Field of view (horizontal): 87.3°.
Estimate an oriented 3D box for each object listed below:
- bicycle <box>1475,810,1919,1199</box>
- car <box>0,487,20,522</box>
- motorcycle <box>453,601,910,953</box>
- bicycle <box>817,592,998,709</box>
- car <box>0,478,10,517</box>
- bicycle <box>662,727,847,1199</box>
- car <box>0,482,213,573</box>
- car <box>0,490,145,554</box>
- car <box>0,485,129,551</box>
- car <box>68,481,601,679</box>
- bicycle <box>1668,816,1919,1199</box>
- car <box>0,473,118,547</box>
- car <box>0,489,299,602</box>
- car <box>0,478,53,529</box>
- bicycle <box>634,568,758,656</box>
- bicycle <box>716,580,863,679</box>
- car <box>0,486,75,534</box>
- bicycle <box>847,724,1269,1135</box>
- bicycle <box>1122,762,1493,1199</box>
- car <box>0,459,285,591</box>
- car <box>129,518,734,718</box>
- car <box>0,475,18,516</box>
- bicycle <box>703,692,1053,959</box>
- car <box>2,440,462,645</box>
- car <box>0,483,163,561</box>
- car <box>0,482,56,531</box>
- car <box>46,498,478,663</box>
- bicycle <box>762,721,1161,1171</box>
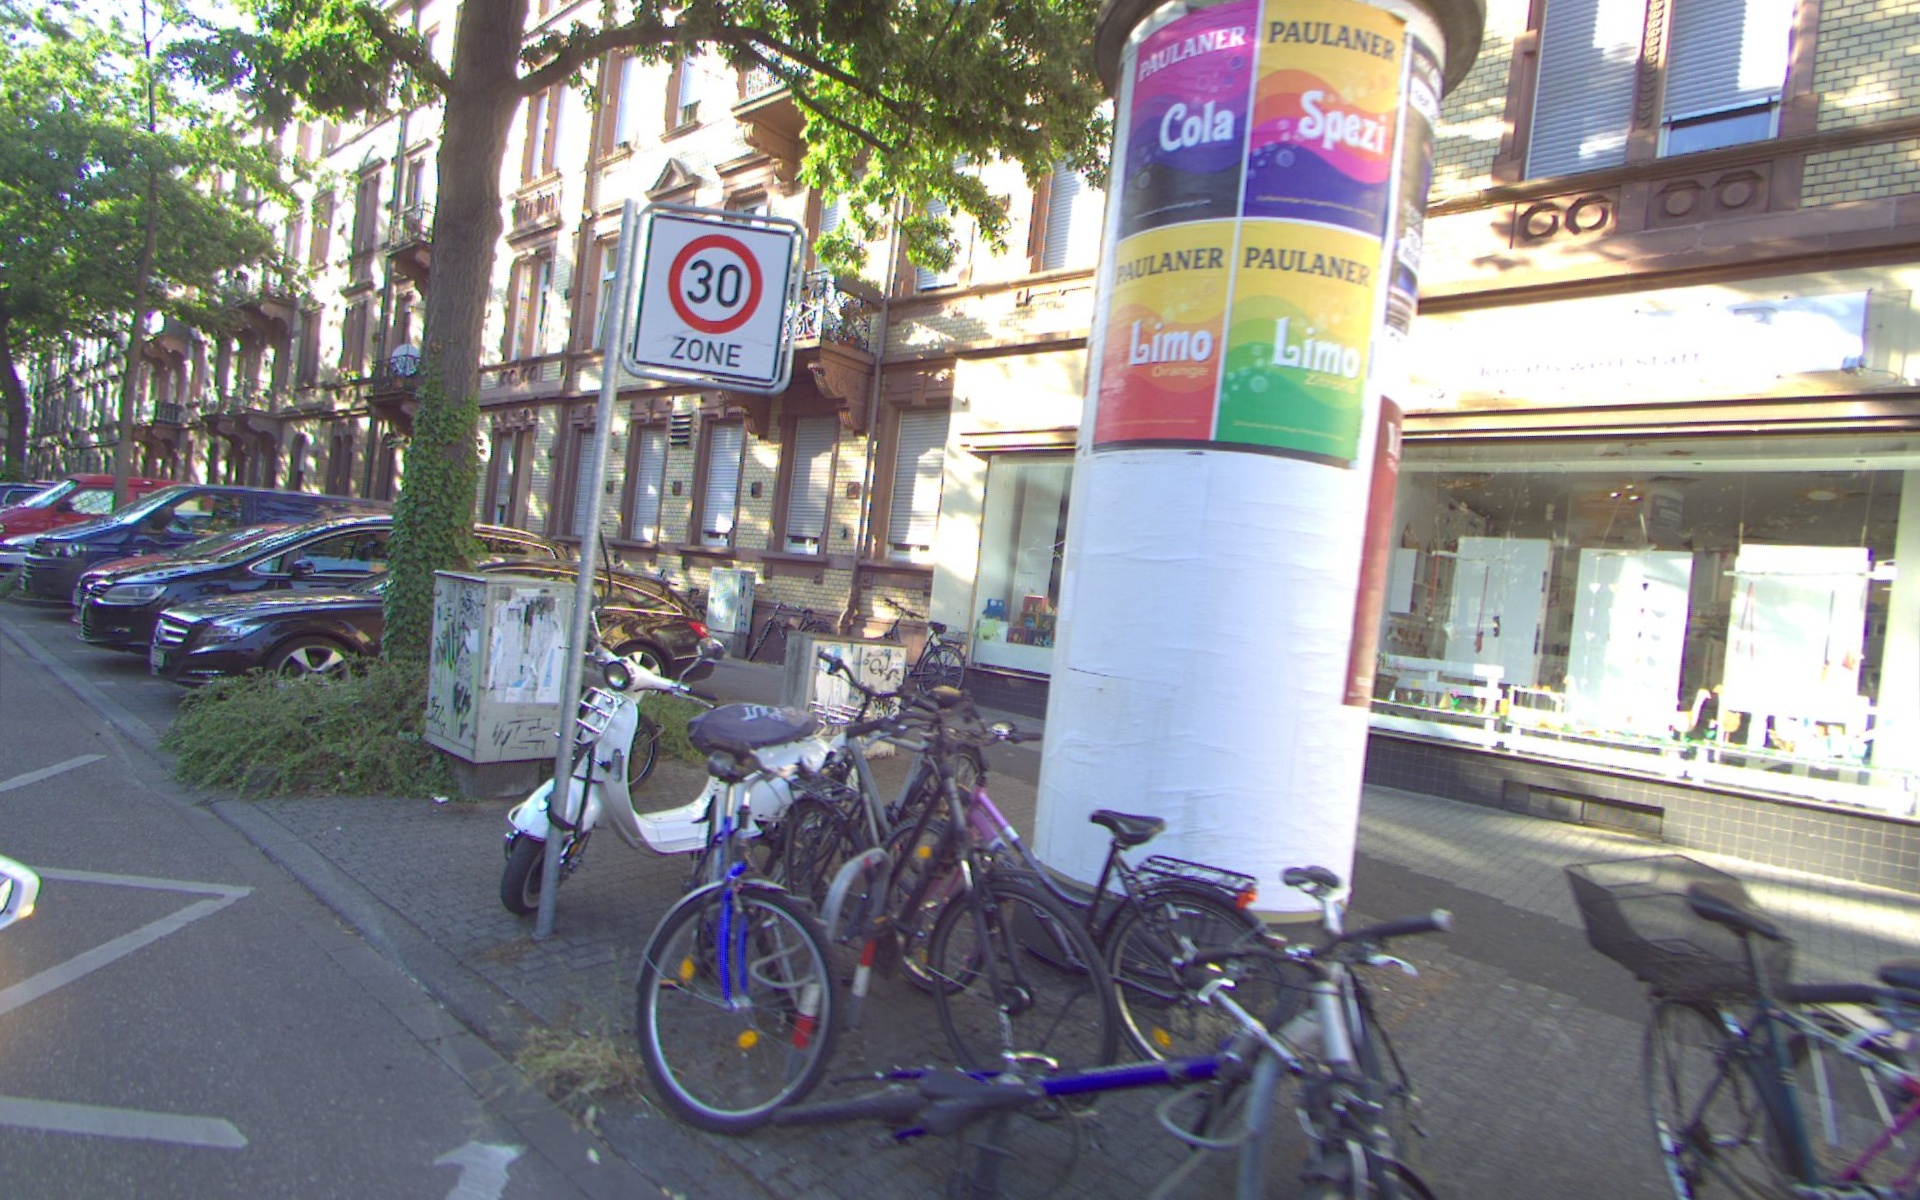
[{"bbox_3d":[1.693,1.160,1.893,0.493,1.066,1.935,4,1,4],"label":"bicycle"},{"bbox_3d":[-42.253,-4.225,41.933,1.807,1.422,4.217,7,2,36],"label":"car"},{"bbox_3d":[-1.176,0.696,4.627,0.676,1.250,1.893,7,2,41],"label":"motorcycle"},{"bbox_3d":[-0.728,0.595,12.840,2.558,1.187,0.668,6,2,44],"label":"bicycle"},{"bbox_3d":[-46.307,-4.917,45.679,1.801,1.818,4.230,6,2,21],"label":"car"},{"bbox_3d":[-0.702,0.982,3.153,0.349,0.940,1.407,3,2,-18],"label":"bicycle"},{"bbox_3d":[-19.693,-1.630,22.789,1.813,1.649,4.173,7,2,44],"label":"car"},{"bbox_3d":[-25.076,-2.165,27.547,1.769,1.453,4.001,6,2,40],"label":"car"},{"bbox_3d":[-26.921,-2.427,28.967,1.823,1.578,4.334,8,4,40],"label":"car"},{"bbox_3d":[-6.670,-0.111,11.117,4.670,1.700,1.828,5,1,-44],"label":"car"},{"bbox_3d":[2.169,1.181,1.834,0.417,1.108,1.935,4,1,4],"label":"bicycle"},{"bbox_3d":[-28.754,-2.827,30.669,1.822,1.951,4.436,8,4,38],"label":"car"},{"bbox_3d":[-14.118,-0.902,17.430,1.852,1.530,4.046,6,1,40],"label":"car"},{"bbox_3d":[-38.181,-3.920,38.994,1.808,1.800,4.213,7,2,39],"label":"car"},{"bbox_3d":[-4.350,0.170,16.432,2.558,1.187,0.668,6,2,44],"label":"bicycle"},{"bbox_3d":[-2.537,0.398,14.687,2.558,1.187,0.668,6,2,44],"label":"bicycle"},{"bbox_3d":[-34.170,-3.297,35.650,1.709,1.487,4.002,6,1,40],"label":"car"},{"bbox_3d":[0.259,1.027,3.520,1.504,0.940,0.352,6,3,43],"label":"bicycle"},{"bbox_3d":[0.790,1.058,2.419,0.487,1.001,1.934,5,2,19],"label":"bicycle"},{"bbox_3d":[-16.069,-1.383,19.400,1.851,2.060,4.669,6,1,38],"label":"car"},{"bbox_3d":[-4.753,0.225,9.668,1.827,1.431,4.772,6,1,43],"label":"car"},{"bbox_3d":[-48.859,-5.322,48.325,1.809,1.951,5.046,7,2,40],"label":"car"},{"bbox_3d":[-0.286,0.962,4.782,0.349,0.940,1.926,6,2,40],"label":"bicycle"},{"bbox_3d":[-10.399,-0.691,14.771,1.964,2.242,5.016,7,0,40],"label":"car"},{"bbox_3d":[-23.299,-2.027,25.909,1.779,1.649,4.003,6,1,39],"label":"car"},{"bbox_3d":[-36.133,-3.591,37.069,1.709,1.628,4.002,6,2,40],"label":"car"},{"bbox_3d":[-8.569,-0.165,12.651,1.701,1.553,4.100,6,-1,41],"label":"car"},{"bbox_3d":[-0.089,0.988,3.304,0.351,0.940,1.507,2,3,-41],"label":"bicycle"}]
